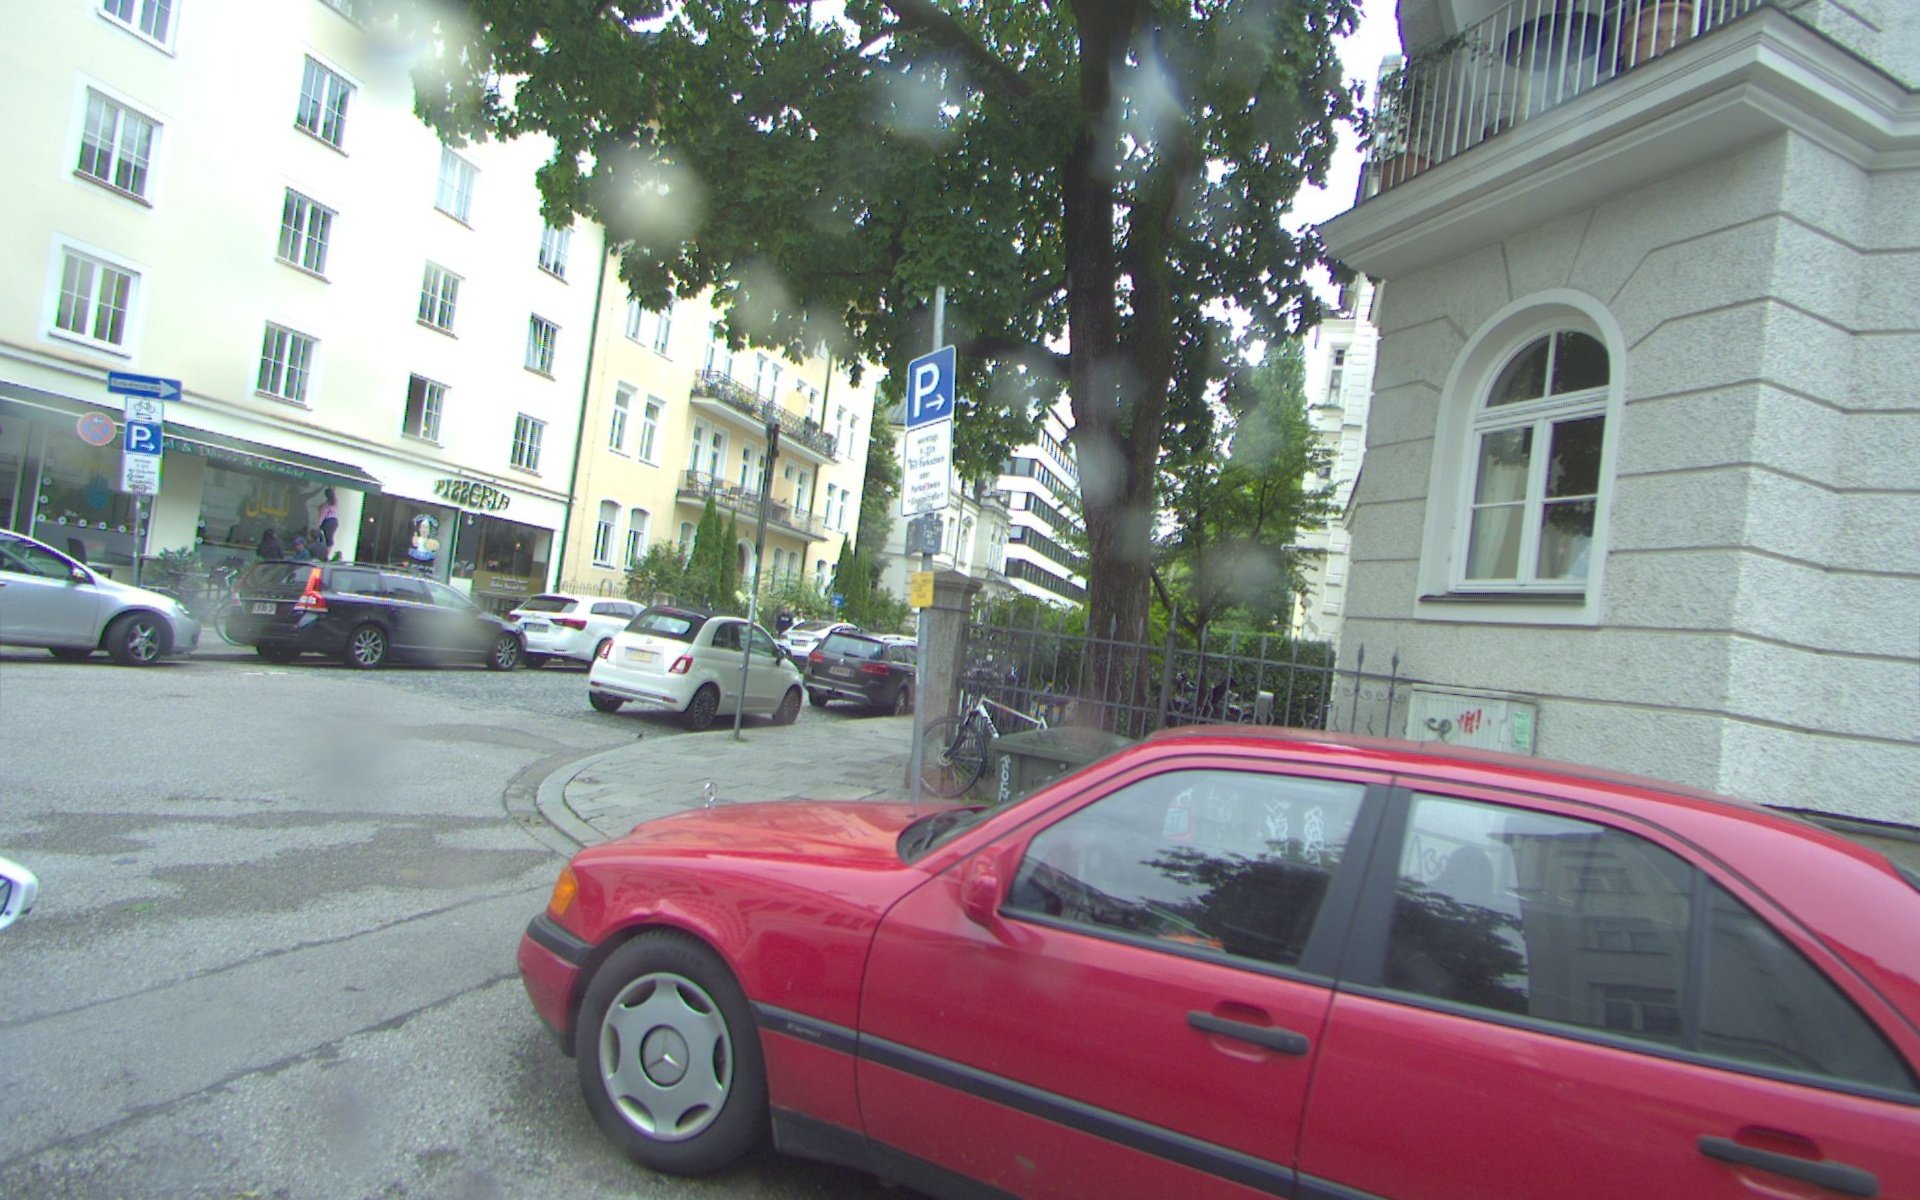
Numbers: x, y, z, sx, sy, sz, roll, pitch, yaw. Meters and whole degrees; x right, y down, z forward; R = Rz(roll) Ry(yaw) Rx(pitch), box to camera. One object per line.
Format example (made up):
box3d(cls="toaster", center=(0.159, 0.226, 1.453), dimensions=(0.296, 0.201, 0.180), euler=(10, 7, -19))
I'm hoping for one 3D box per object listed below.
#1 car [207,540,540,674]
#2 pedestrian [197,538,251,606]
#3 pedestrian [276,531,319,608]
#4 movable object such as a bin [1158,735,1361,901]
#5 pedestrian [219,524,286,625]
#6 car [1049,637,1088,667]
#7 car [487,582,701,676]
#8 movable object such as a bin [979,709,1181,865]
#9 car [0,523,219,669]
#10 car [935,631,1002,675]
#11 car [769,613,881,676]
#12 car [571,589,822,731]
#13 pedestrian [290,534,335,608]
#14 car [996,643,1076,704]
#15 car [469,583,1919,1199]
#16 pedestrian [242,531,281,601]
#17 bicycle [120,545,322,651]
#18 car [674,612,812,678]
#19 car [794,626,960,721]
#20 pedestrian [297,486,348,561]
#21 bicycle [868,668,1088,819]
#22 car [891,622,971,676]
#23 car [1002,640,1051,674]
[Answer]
box3d(cls="car", center=(-8.887, 0.229, 15.762), dimensions=(1.786, 1.609, 4.356), euler=(5, -3, 16))
box3d(cls="pedestrian", center=(-15.232, -0.577, 20.826), dimensions=(0.572, 1.312, 0.513), euler=(7, -1, -4))
box3d(cls="pedestrian", center=(-14.220, -0.655, 21.612), dimensions=(0.552, 1.555, 0.431), euler=(9, 0, -30))
box3d(cls="movable object such as a bin", center=(2.153, 1.503, 7.179), dimensions=(1.197, 0.853, 0.903), euler=(7, -2, 24))
box3d(cls="pedestrian", center=(-12.932, -0.455, 18.402), dimensions=(0.533, 1.722, 0.604), euler=(9, 0, 18))
box3d(cls="car", center=(7.887, 3.797, 72.580), dimensions=(1.929, 1.792, 4.005), euler=(7, -2, 17))
box3d(cls="car", center=(-7.277, 0.680, 20.553), dimensions=(1.786, 1.519, 4.356), euler=(5, -3, 16))
box3d(cls="movable object such as a bin", center=(0.914, 1.348, 7.512), dimensions=(1.197, 0.875, 0.903), euler=(7, -2, 24))
box3d(cls="car", center=(-10.851, -0.113, 10.982), dimensions=(1.790, 1.431, 3.999), euler=(3, -5, 27))
box3d(cls="car", center=(0.429, 2.359, 44.276), dimensions=(1.698, 1.639, 4.005), euler=(7, -2, 17))
box3d(cls="car", center=(-4.078, 1.422, 31.061), dimensions=(1.720, 1.656, 4.005), euler=(4, -3, 18))
box3d(cls="car", center=(-3.469, 0.849, 13.866), dimensions=(1.597, 1.504, 3.335), euler=(8, -2, 19))
box3d(cls="pedestrian", center=(-14.463, -0.639, 22.464), dimensions=(0.525, 1.569, 0.434), euler=(7, -1, -1))
box3d(cls="car", center=(2.610, 2.448, 33.568), dimensions=(1.673, 1.709, 4.005), euler=(7, -2, 17))
box3d(cls="car", center=(0.877, 0.984, 2.764), dimensions=(4.139, 1.451, 1.675), euler=(7, -2, 26))
box3d(cls="pedestrian", center=(-15.240, -0.744, 21.950), dimensions=(0.508, 1.450, 0.578), euler=(8, -1, -32))
box3d(cls="bicycle", center=(-11.079, 0.017, 15.202), dimensions=(1.086, 1.267, 2.092), euler=(8, -3, 18))
box3d(cls="car", center=(-5.569, 1.236, 26.369), dimensions=(1.777, 1.465, 4.005), euler=(4, -3, 16))
box3d(cls="car", center=(-1.456, 1.410, 19.407), dimensions=(1.675, 1.423, 4.205), euler=(7, -2, 16))
box3d(cls="pedestrian", center=(-14.675, -1.757, 23.169), dimensions=(0.567, 1.592, 0.555), euler=(7, -3, 17))
box3d(cls="bicycle", center=(0.139, 1.196, 8.675), dimensions=(1.772, 1.051, 0.482), euler=(4, -2, 25))
box3d(cls="car", center=(-1.073, 1.978, 39.445), dimensions=(1.781, 1.792, 4.005), euler=(7, -2, 16))
box3d(cls="car", center=(3.796, 3.271, 57.120), dimensions=(1.781, 1.639, 4.005), euler=(7, -2, 17))
